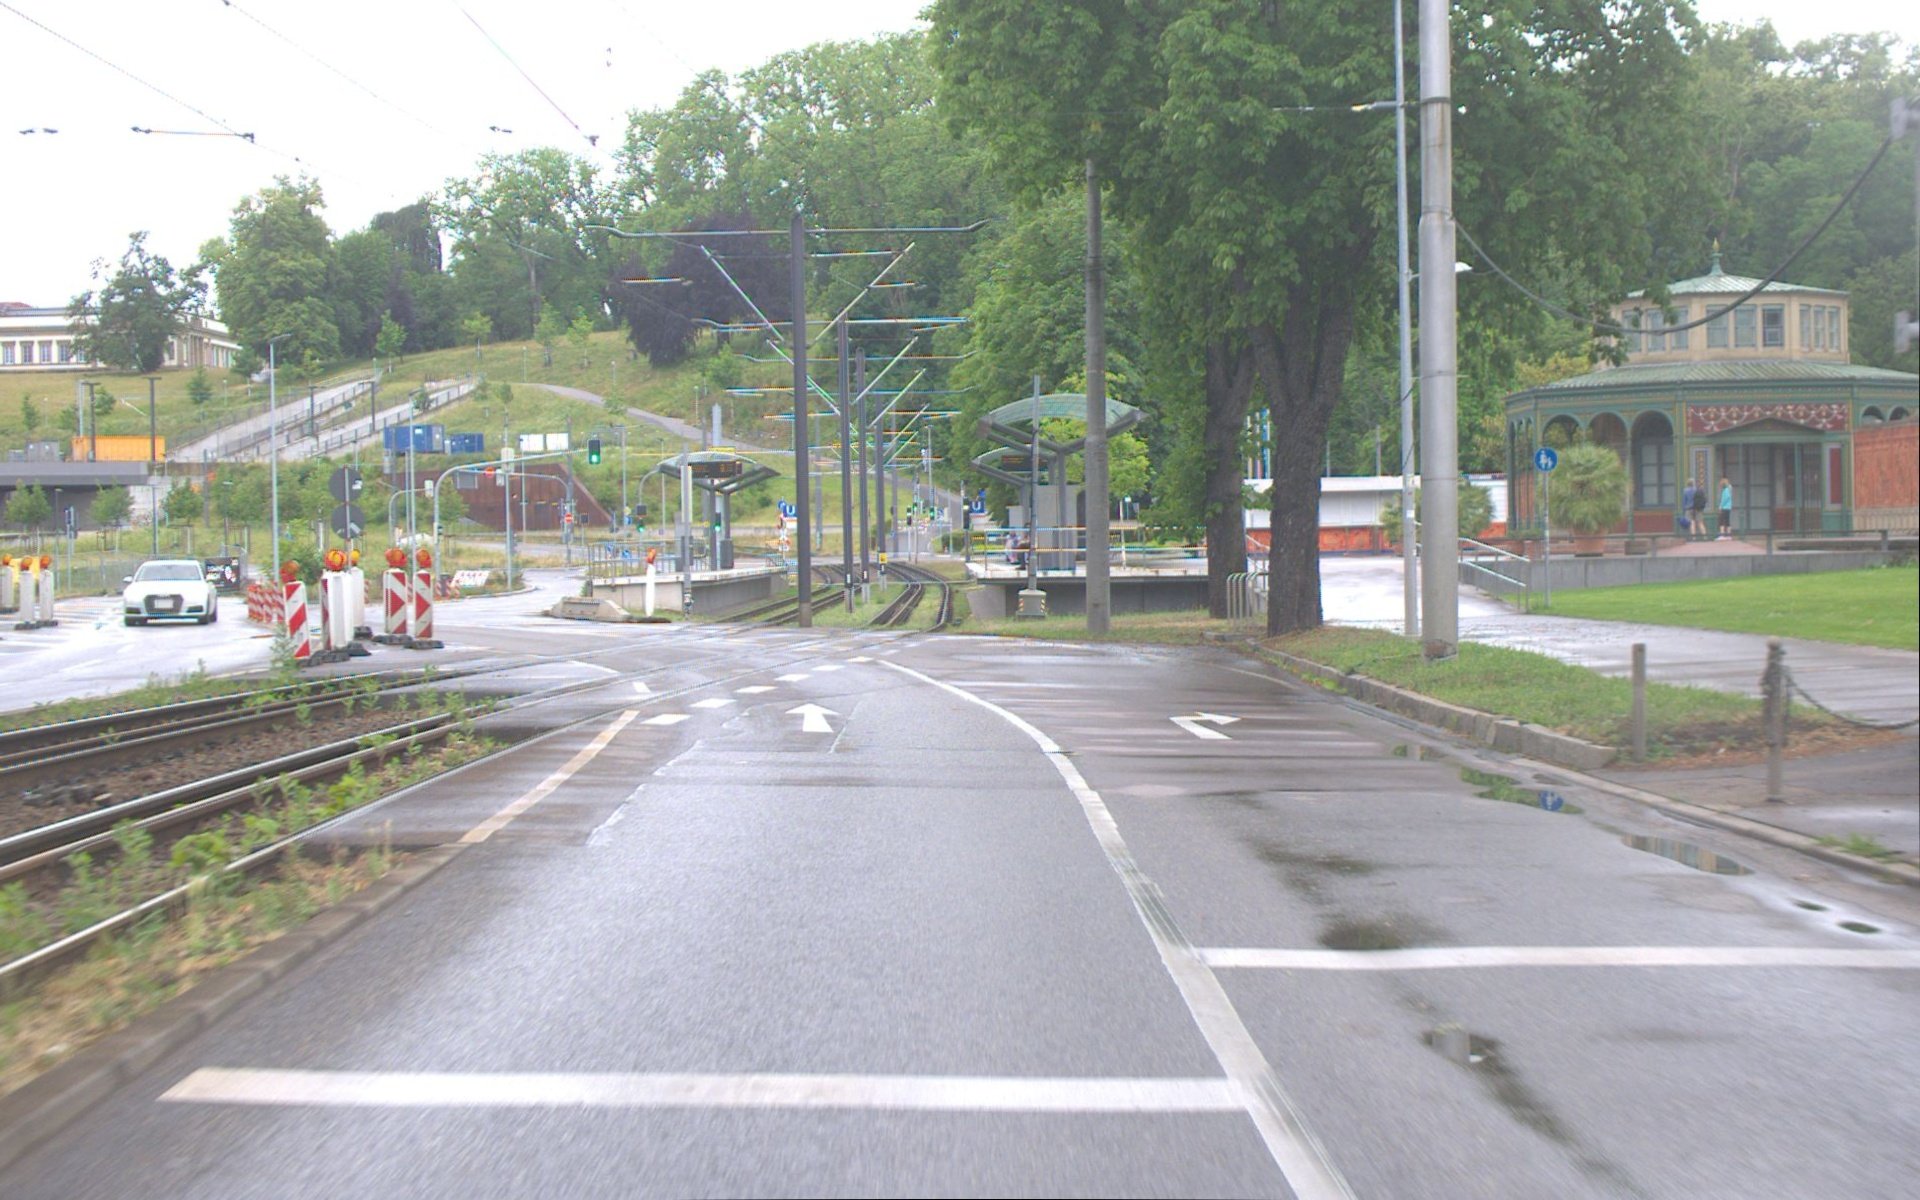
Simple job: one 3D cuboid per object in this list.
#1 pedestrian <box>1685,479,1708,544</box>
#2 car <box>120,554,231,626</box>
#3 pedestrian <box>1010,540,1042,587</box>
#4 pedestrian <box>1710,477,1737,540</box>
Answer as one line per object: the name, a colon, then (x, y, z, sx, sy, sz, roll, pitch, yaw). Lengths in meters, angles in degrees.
pedestrian: (19.726, -2.370, 92.081, 0.531, 1.705, 0.695, 1, -1, 11)
car: (-17.460, -0.249, 76.672, 1.708, 1.493, 4.721, -2, 1, -5)
pedestrian: (1.609, -0.894, 84.095, 0.600, 1.115, 0.520, 3, -1, -16)
pedestrian: (20.302, -2.436, 91.413, 0.551, 1.651, 0.468, 0, 0, 34)
